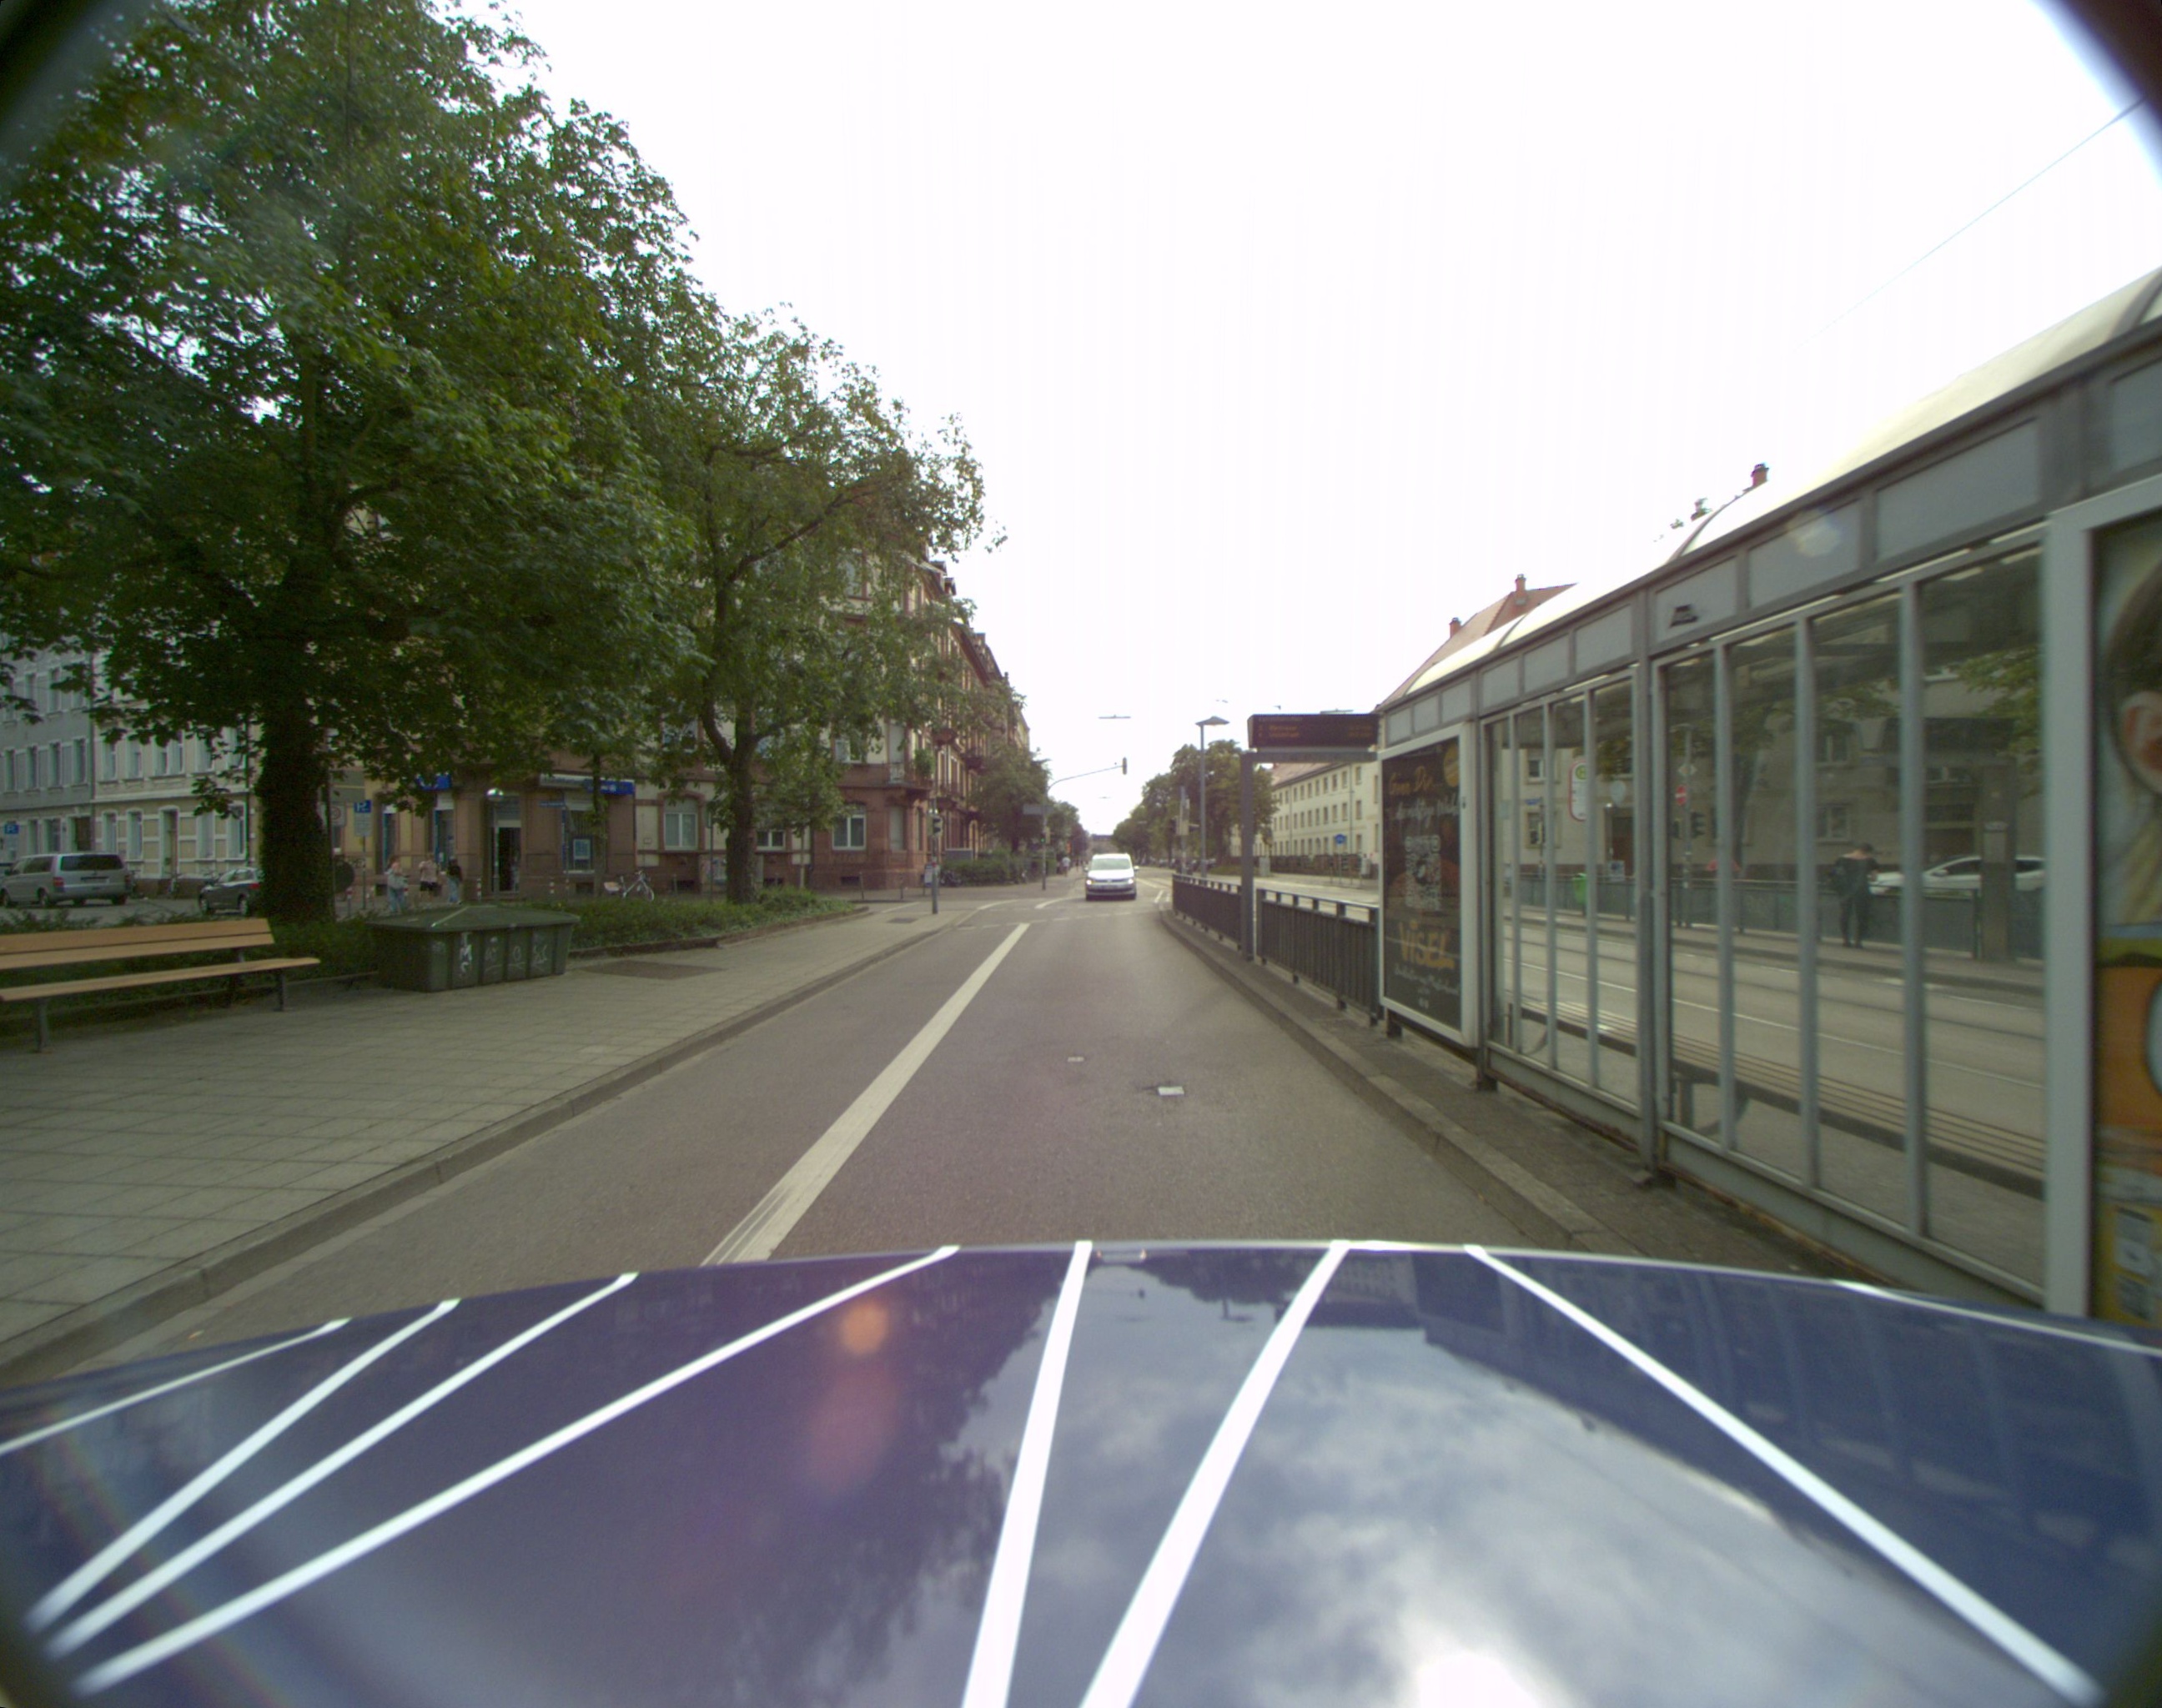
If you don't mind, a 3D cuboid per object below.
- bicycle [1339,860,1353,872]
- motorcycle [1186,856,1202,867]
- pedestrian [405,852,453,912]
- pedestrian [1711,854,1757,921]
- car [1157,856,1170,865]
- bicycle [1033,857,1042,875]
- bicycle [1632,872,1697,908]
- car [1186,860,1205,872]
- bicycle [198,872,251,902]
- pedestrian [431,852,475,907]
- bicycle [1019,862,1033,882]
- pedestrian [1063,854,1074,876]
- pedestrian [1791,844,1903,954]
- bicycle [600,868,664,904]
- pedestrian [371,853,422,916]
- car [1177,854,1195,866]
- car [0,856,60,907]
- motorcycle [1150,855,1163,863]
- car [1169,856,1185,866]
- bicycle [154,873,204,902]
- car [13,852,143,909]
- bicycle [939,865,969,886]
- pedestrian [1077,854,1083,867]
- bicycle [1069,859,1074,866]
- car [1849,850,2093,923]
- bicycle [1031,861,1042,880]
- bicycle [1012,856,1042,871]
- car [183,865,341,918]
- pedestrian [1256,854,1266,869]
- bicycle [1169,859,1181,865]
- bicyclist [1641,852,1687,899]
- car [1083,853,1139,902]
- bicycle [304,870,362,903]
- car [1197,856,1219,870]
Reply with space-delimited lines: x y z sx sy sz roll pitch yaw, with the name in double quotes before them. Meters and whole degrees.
"bicycle" 19.588 0.868 56.254 0.479 0.910 1.672 0 0 1
"motorcycle" 14.429 0.989 96.804 1.871 1.253 0.592 -6 1 -3
"pedestrian" -19.452 0.818 22.667 0.891 1.719 0.759 1 0 24
"pedestrian" 18.609 0.937 21.659 0.731 1.889 0.836 0 0 19
"car" 14.456 1.149 132.820 1.701 1.462 4.299 -1 0 -2
"bicycle" -3.009 0.829 52.721 0.517 1.274 1.550 0 0 3
"bicycle" 16.597 1.019 21.656 0.662 0.943 1.550 0 0 1
"car" 13.986 1.423 92.926 1.701 1.415 4.300 -1 0 0
"bicycle" -33.606 1.289 29.817 1.935 1.114 0.674 0 0 19
"pedestrian" -20.128 0.812 24.352 0.891 1.719 0.734 1 0 24
"bicycle" -3.146 1.040 43.674 0.672 1.100 1.672 0 0 1
"pedestrian" -0.996 0.837 59.781 0.732 1.743 0.950 0 0 5
"pedestrian" 11.671 0.666 11.600 0.854 1.611 0.843 0 1 -5
"bicycle" -14.747 1.041 24.978 1.672 1.137 0.672 0 0 -8
"pedestrian" -19.495 0.851 21.647 0.730 1.719 0.895 2 0 33
"car" 14.416 0.761 104.453 1.790 1.602 4.300 0 0 0
"car" -42.571 1.051 29.890 4.145 1.932 1.821 0 0 22
"motorcycle" 14.710 0.911 148.548 2.311 1.382 0.838 -5 1 32
"car" 14.340 1.049 113.627 1.701 1.462 4.299 0 0 -2
"bicycle" -37.238 1.366 31.355 1.935 1.114 0.674 0 0 19
"car" -36.853 0.913 27.925 3.990 1.969 1.871 0 0 22
"bicycle" -6.105 1.015 36.712 0.509 0.964 1.553 0 0 33
"pedestrian" -0.117 0.768 89.033 0.732 1.614 0.835 0 0 0
"bicycle" -1.298 1.144 101.585 0.580 0.977 1.672 4 0 -1
"car" 24.735 0.830 21.402 4.146 1.711 1.845 3 3 40
"bicycle" -2.695 1.008 46.391 0.510 1.082 1.550 3 0 1
"bicycle" -4.901 0.870 68.897 2.630 1.304 0.770 0 0 -2
"car" -24.097 1.047 22.371 3.990 1.433 1.821 0 0 22
"pedestrian" 18.151 0.717 76.657 0.835 1.503 0.732 0 0 -5
"bicycle" 14.654 1.296 118.319 1.672 0.965 0.672 0 0 -9
"bicyclist" 16.599 0.597 21.653 0.662 1.332 0.836 0 1 1
"car" 1.067 0.791 28.271 1.876 1.670 5.131 0 0 1
"bicycle" -27.030 1.159 27.454 1.935 1.114 0.674 0 0 19
"car" 14.169 0.964 84.766 1.701 1.415 4.300 -3 0 0
